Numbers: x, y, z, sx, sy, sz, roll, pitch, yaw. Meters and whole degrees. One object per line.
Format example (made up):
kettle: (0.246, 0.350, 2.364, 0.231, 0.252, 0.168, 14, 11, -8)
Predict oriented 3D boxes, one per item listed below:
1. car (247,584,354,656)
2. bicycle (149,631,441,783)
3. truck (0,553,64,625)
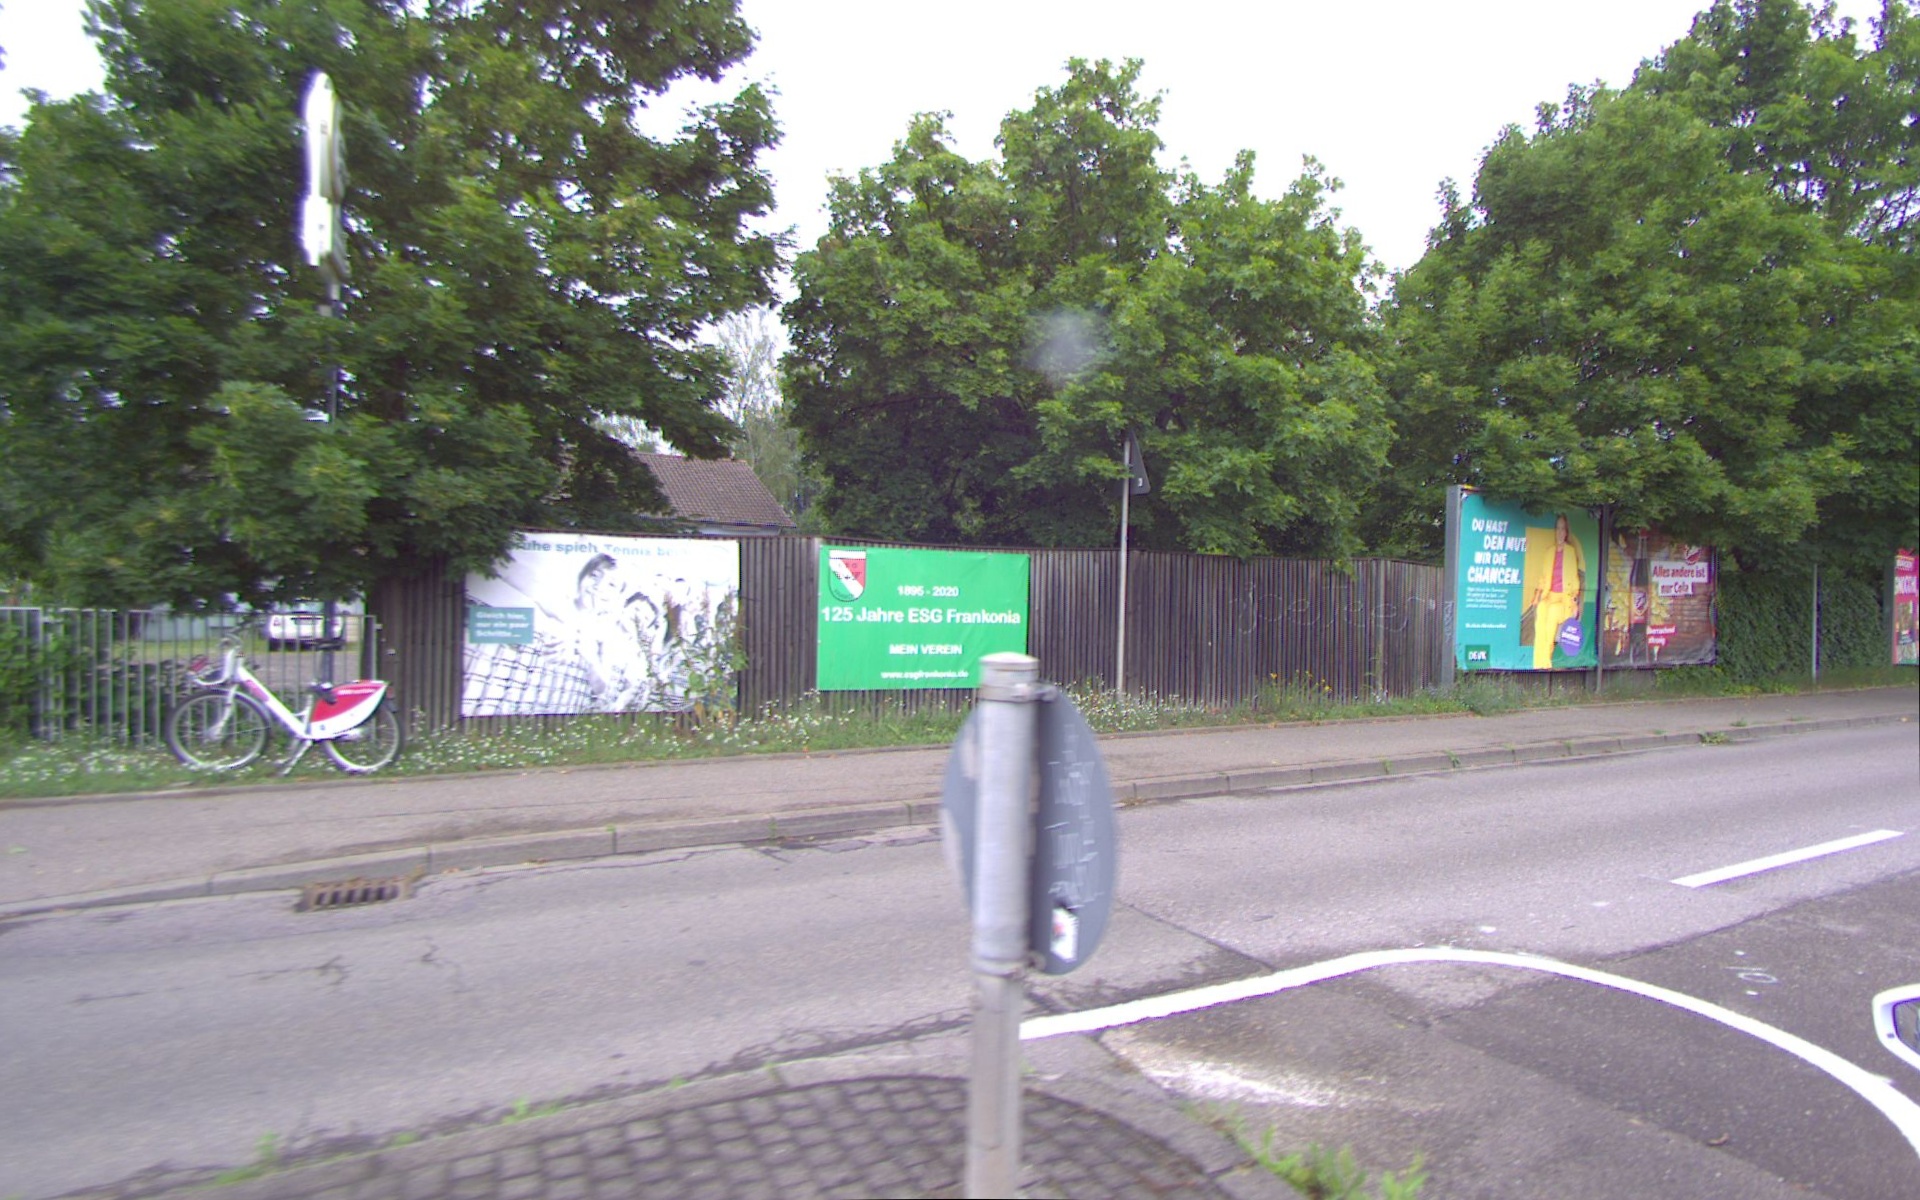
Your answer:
car: (-17.977, 0.526, 27.552, 1.974, 1.828, 3.973, 1, 0, -27)
bicycle: (-4.896, 0.780, 7.468, 1.736, 1.012, 0.583, 2, 2, -4)
truck: (-39.784, -0.427, 42.047, 1.973, 2.872, 5.100, 1, 0, -25)
